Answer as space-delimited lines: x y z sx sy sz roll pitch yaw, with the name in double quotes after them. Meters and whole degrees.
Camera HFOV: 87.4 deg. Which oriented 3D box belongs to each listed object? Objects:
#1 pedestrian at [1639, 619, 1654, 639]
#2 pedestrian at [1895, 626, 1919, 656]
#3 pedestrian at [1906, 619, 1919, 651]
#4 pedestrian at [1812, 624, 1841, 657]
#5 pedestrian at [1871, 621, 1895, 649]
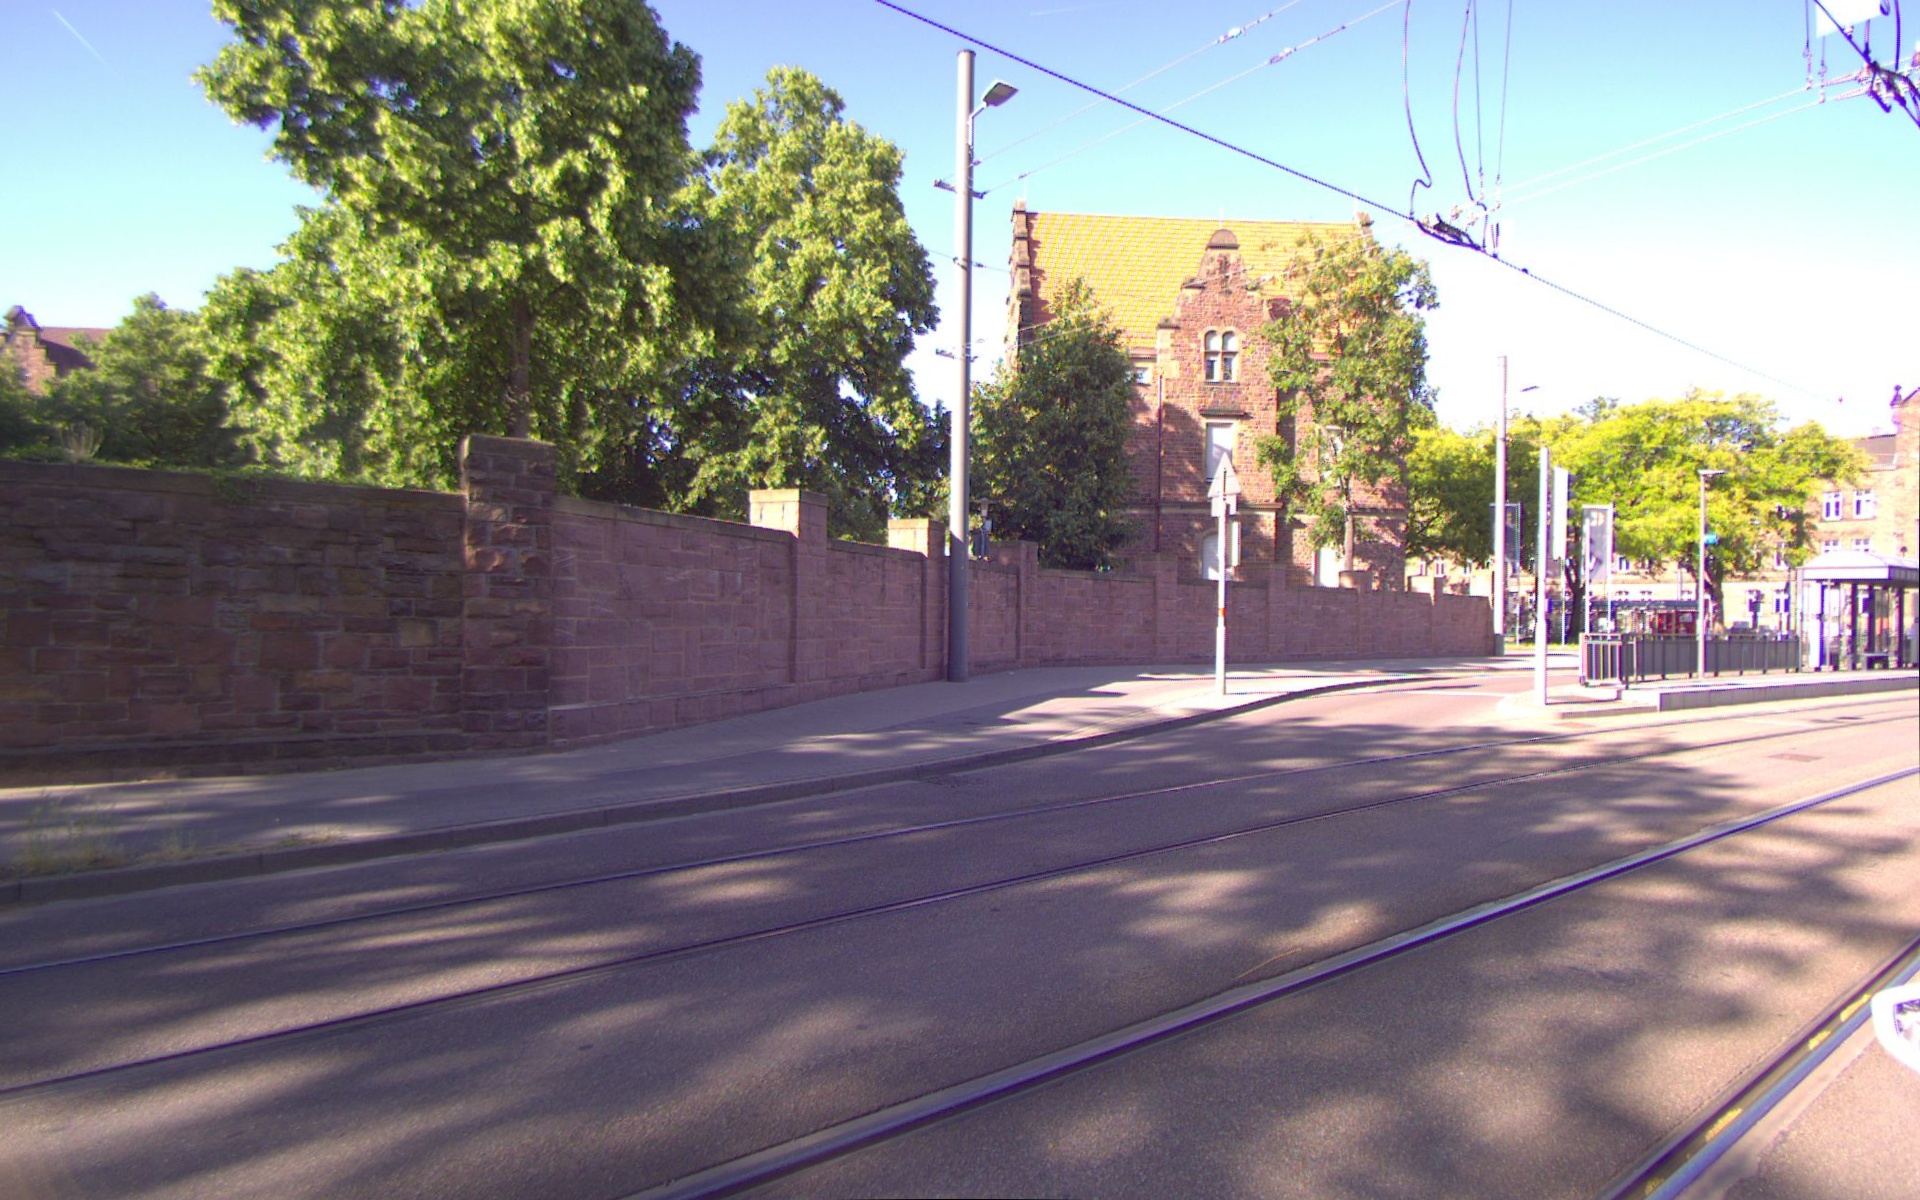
55.281 2.317 80.891 0.919 1.609 0.802 1 0 34 "pedestrian"
52.997 2.304 56.180 0.924 1.609 0.798 2 0 -32 "pedestrian"
52.083 1.920 54.452 1.017 1.706 0.891 2 0 -30 "pedestrian"
46.163 2.176 53.515 1.017 1.714 0.839 2 0 -30 "pedestrian"
54.206 2.053 58.980 0.924 1.609 0.798 2 0 -32 "pedestrian"
